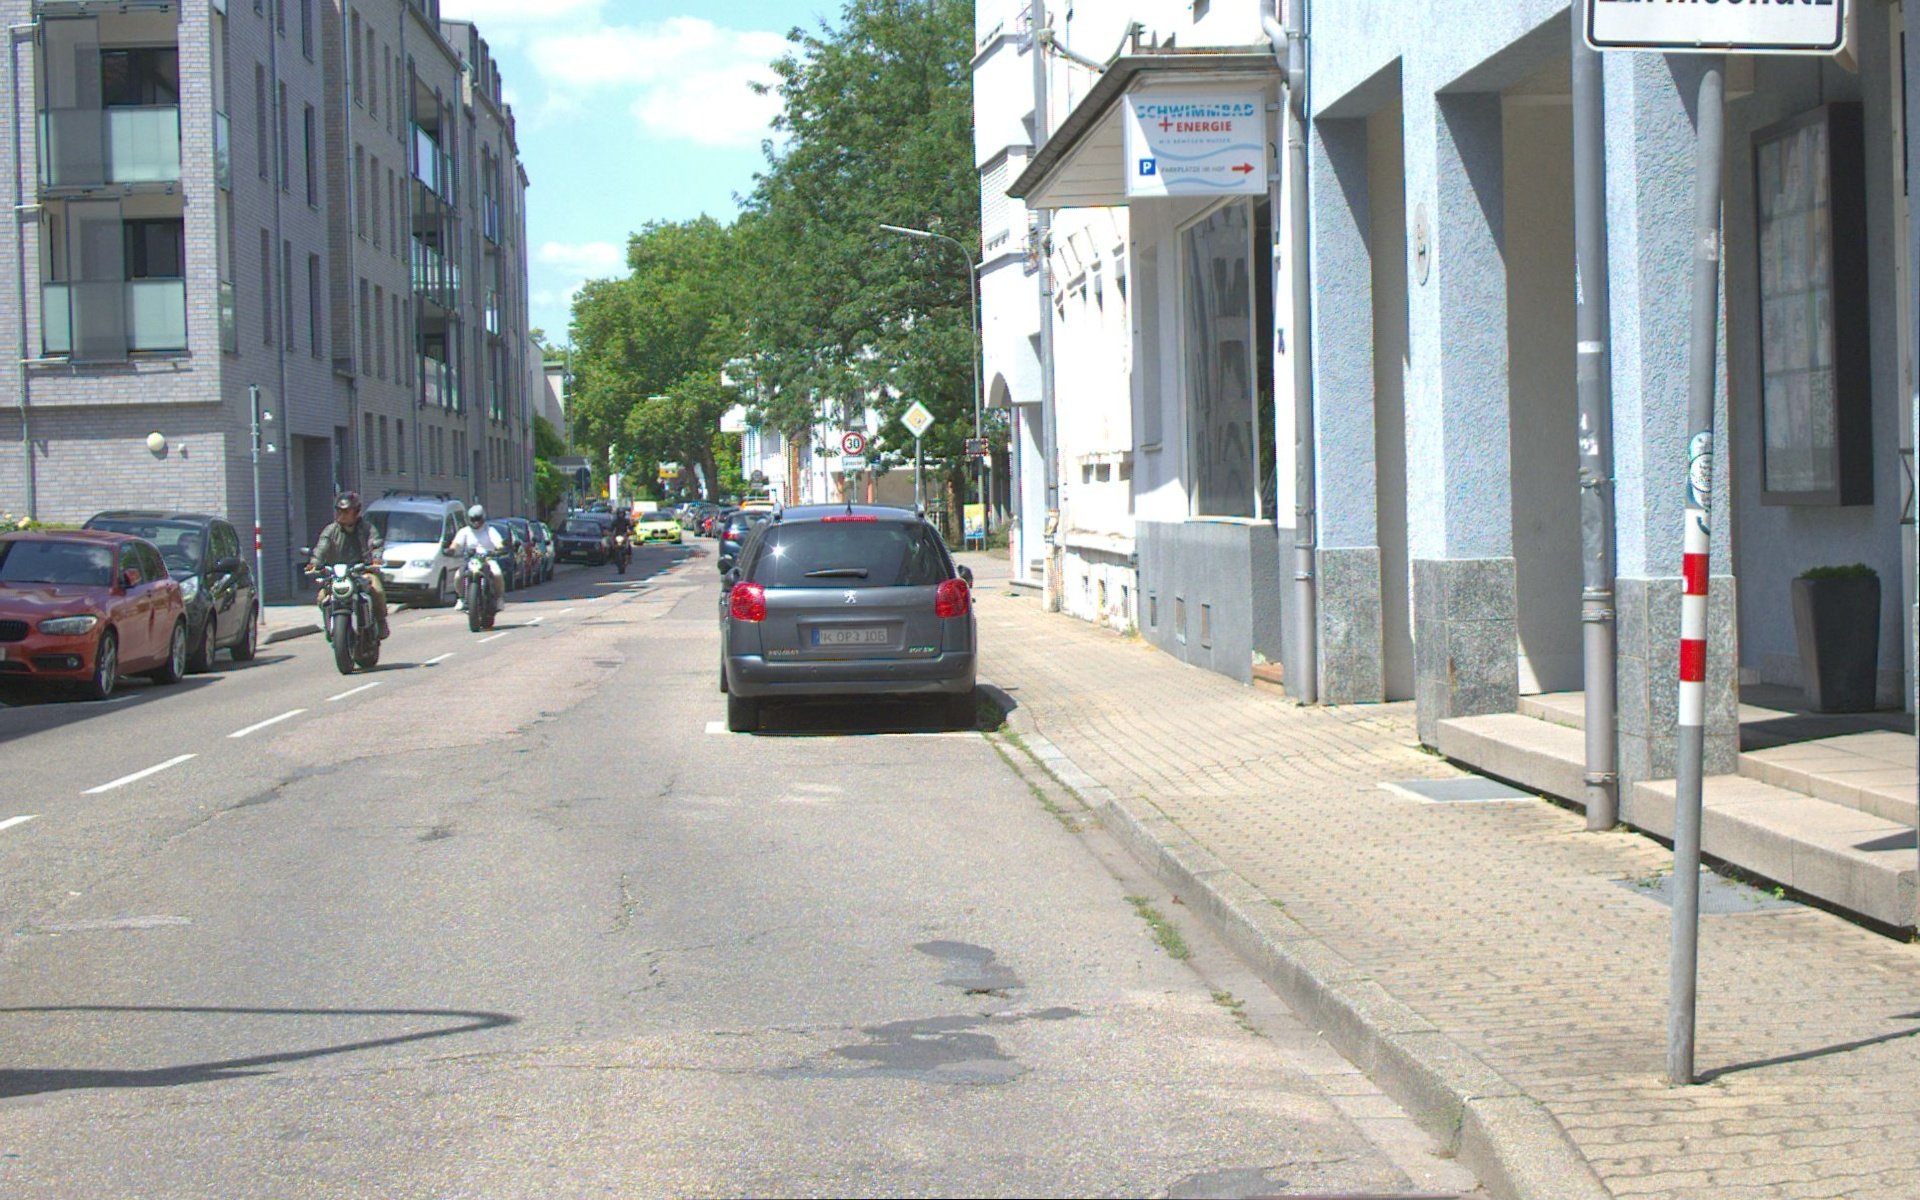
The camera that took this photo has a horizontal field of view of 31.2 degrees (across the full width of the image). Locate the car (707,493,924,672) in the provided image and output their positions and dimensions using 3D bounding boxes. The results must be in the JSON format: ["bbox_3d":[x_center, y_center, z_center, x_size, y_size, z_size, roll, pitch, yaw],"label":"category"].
[{"bbox_3d":[-1.288,-0.202,30.158,1.729,1.415,4.546,-1,1,-3],"label":"car"}]

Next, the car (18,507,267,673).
[{"bbox_3d":[-8.533,-0.150,36.182,1.794,1.641,3.945,0,1,-2],"label":"car"}]

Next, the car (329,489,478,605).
[{"bbox_3d":[-9.502,-0.949,59.017,1.757,1.885,4.337,1,2,1],"label":"car"}]

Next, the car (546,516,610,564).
[{"bbox_3d":[-11.838,-1.883,106.802,1.732,1.437,4.001,-1,1,-3],"label":"car"}]

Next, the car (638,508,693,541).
[{"bbox_3d":[-12.402,-3.194,144.885,1.993,1.376,4.393,1,2,-1],"label":"car"}]

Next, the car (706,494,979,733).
[{"bbox_3d":[-0.905,0.035,24.177,1.709,1.503,4.001,-1,1,-4],"label":"car"}]

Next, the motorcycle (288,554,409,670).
[{"bbox_3d":[-5.929,0.097,33.454,0.713,1.025,2.239,-2,2,1],"label":"motorcycle"}]

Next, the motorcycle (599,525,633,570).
[{"bbox_3d":[-8.747,-1.343,87.450,0.687,1.118,2.028,-2,2,-2],"label":"motorcycle"}]

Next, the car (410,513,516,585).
[{"bbox_3d":[-10.284,-1.069,71.372,1.723,1.451,4.006,0,1,-2],"label":"car"}]

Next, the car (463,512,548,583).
[{"bbox_3d":[-10.171,-1.193,77.112,1.590,1.548,3.571,-1,1,-3],"label":"car"}]

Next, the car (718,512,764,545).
[{"bbox_3d":[-10.991,-3.577,172.039,1.993,1.612,4.001,-1,1,-8],"label":"car"}]

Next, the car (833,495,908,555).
[{"bbox_3d":[-2.360,-1.964,89.714,1.692,1.415,4.001,-4,2,-4],"label":"car"}]

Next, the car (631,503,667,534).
[{"bbox_3d":[-20.684,-5.405,228.385,2.156,2.006,4.001,-2,2,-8],"label":"car"}]

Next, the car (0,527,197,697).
[{"bbox_3d":[-8.323,0.065,31.225,1.834,1.412,4.290,-1,1,0],"label":"car"}]

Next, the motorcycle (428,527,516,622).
[{"bbox_3d":[-6.301,-0.346,44.494,0.896,1.172,2.208,-1,2,-3],"label":"motorcycle"}]

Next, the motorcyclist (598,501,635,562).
[{"bbox_3d":[-8.717,-1.744,87.293,0.822,1.504,1.057,-2,2,-2],"label":"motorcyclist"}]

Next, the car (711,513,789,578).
[{"bbox_3d":[-4.897,-1.287,80.535,1.715,1.397,4.001,-2,2,-2],"label":"car"}]

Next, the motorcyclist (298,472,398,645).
[{"bbox_3d":[-5.947,-0.415,33.453,0.713,1.628,1.069,-2,2,1],"label":"motorcyclist"}]

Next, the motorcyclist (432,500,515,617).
[{"bbox_3d":[-6.284,-0.542,44.459,0.916,1.475,1.203,-1,1,-3],"label":"motorcyclist"}]

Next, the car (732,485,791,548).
[{"bbox_3d":[-6.563,-2.799,114.058,1.839,2.006,4.001,-1,2,-2],"label":"car"}]
